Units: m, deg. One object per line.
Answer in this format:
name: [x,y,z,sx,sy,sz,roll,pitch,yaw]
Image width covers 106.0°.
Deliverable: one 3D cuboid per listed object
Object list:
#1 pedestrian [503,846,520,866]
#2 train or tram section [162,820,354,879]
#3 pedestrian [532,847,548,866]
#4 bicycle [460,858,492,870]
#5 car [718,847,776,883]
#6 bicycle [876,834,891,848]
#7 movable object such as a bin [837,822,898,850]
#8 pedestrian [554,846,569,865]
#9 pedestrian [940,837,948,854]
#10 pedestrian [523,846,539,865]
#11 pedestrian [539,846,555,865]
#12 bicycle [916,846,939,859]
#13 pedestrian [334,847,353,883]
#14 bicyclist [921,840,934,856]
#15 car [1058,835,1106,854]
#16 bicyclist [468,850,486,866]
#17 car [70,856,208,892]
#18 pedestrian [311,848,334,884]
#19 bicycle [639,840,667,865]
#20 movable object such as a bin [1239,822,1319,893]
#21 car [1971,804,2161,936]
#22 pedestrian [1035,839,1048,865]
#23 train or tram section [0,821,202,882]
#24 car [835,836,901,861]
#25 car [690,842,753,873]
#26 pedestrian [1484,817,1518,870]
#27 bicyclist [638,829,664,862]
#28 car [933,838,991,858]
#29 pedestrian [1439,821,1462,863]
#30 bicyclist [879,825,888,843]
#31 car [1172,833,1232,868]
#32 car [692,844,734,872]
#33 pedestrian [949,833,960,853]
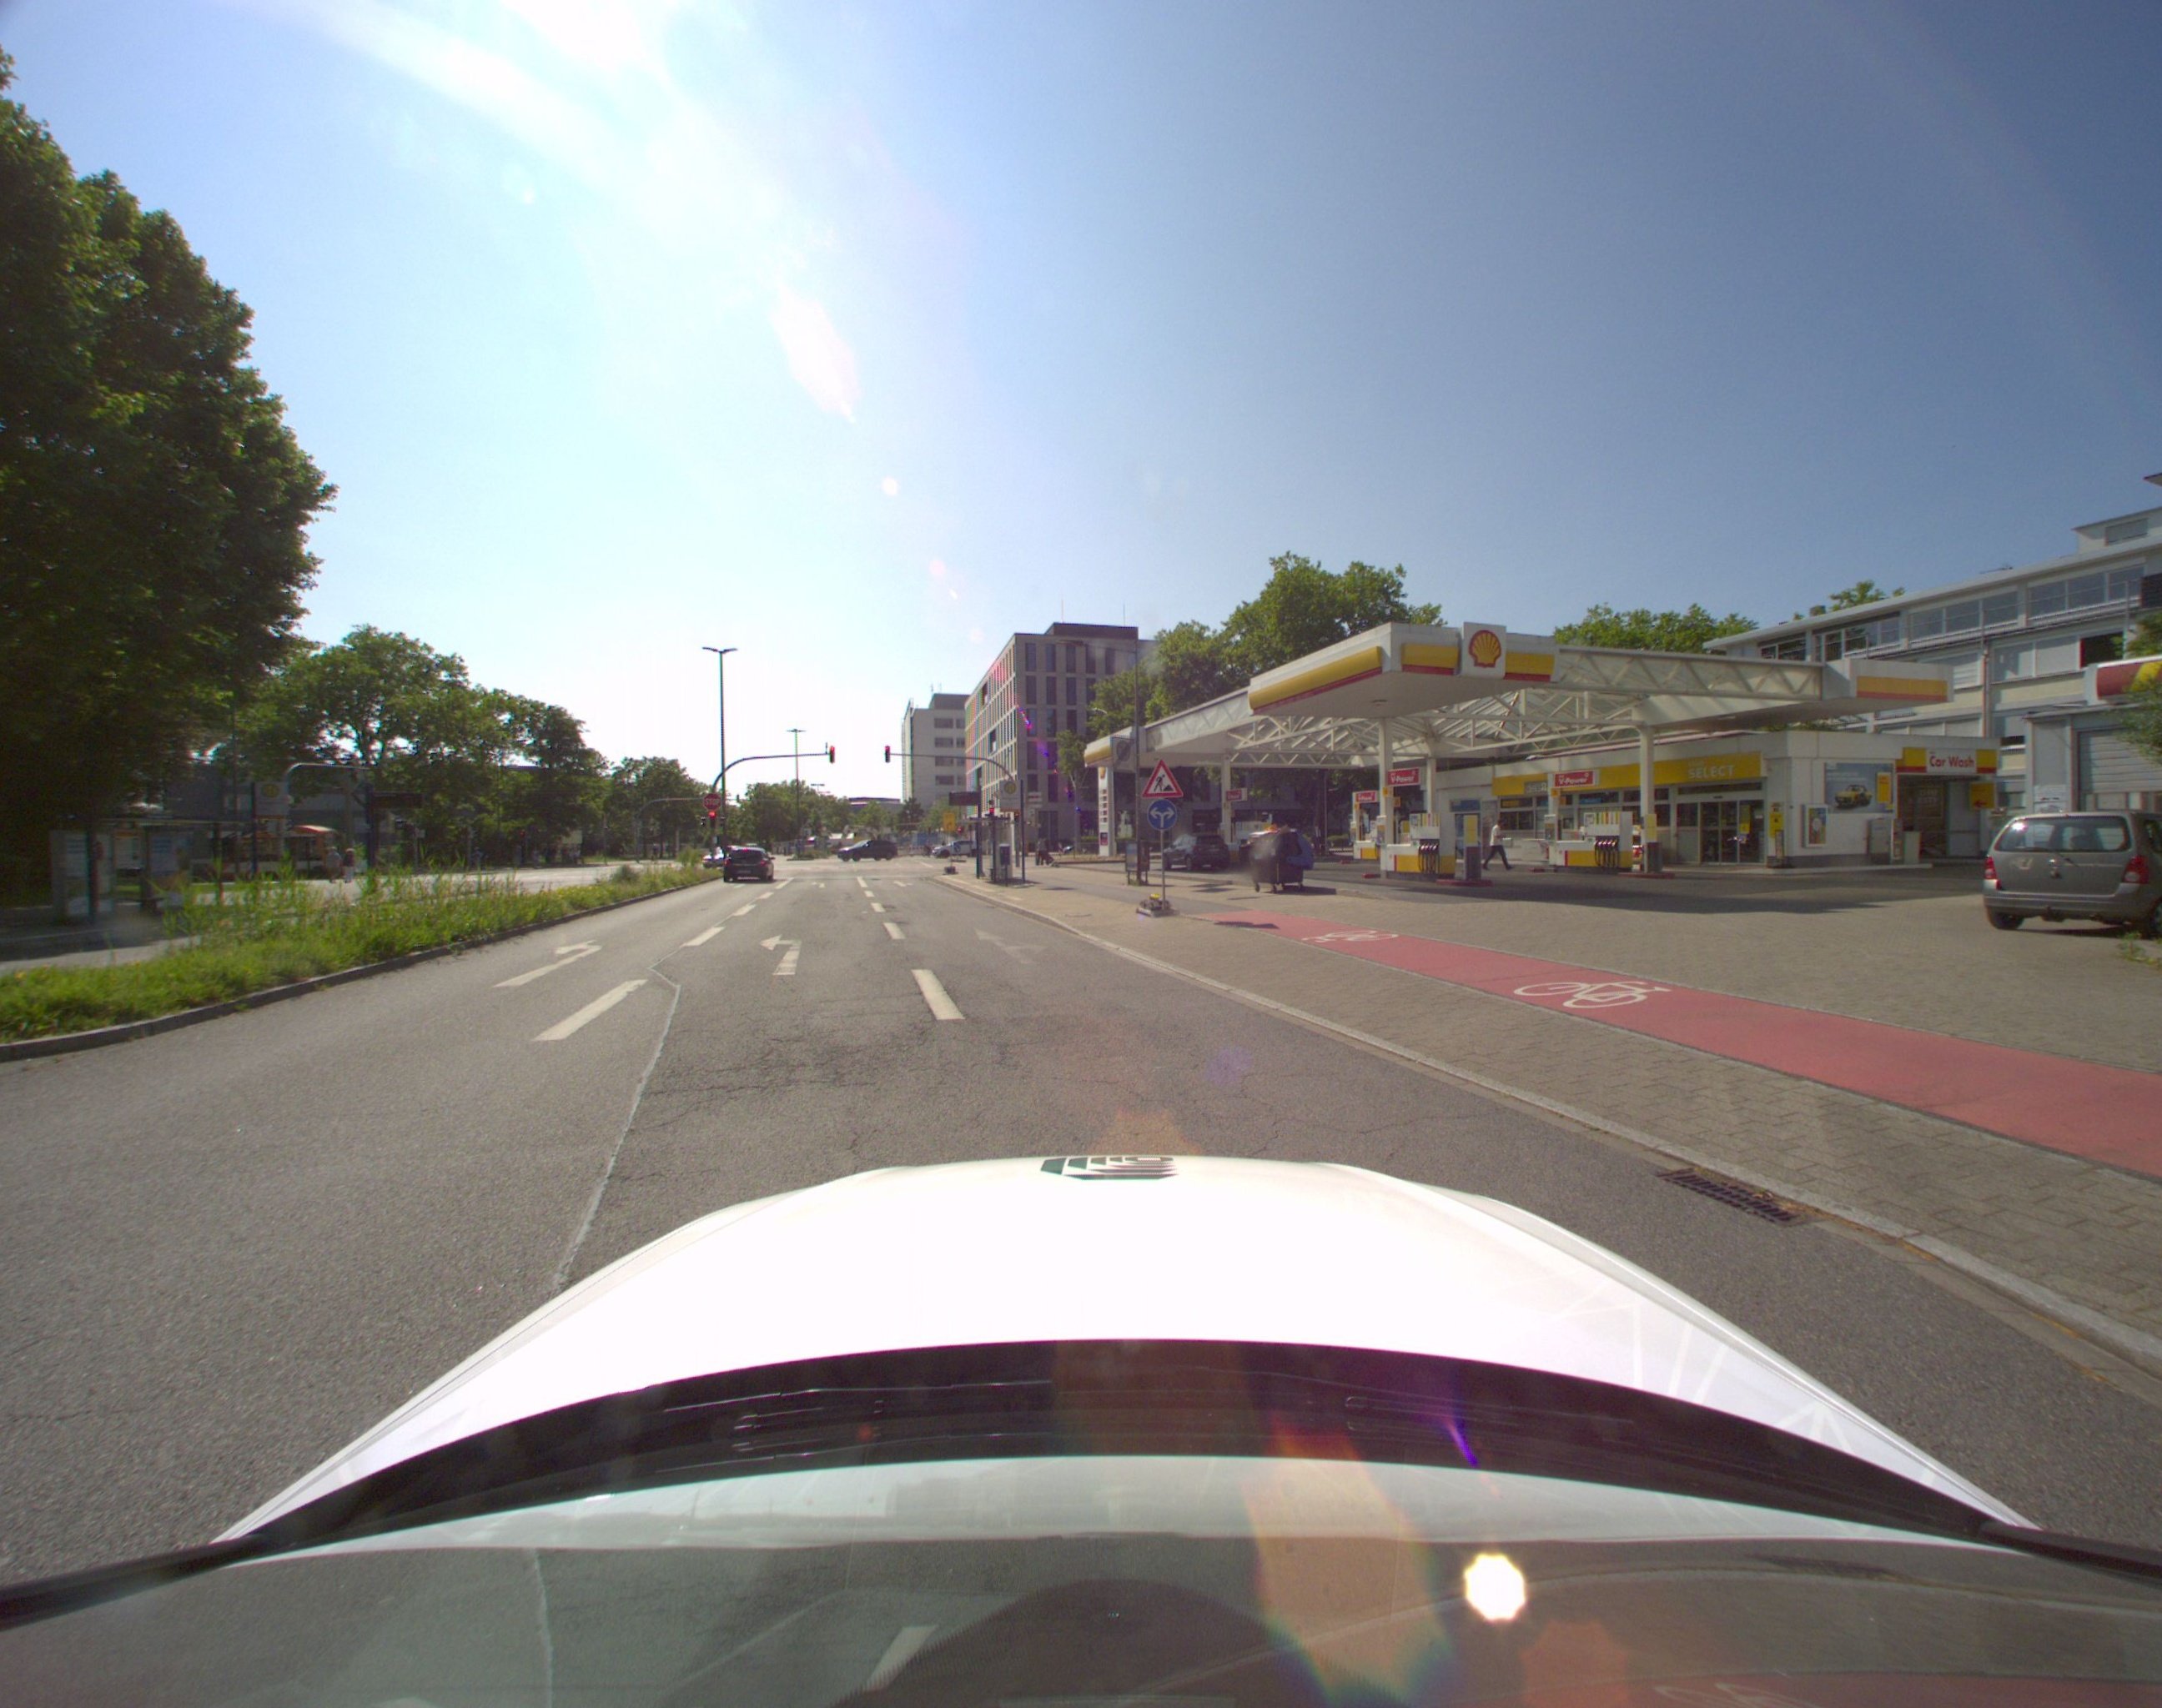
pedestrian: [-47.854,0.174,68.409,0.651,1.611,0.944,0,1,7]
train or tram section: [-50.059,-0.336,49.837,7.577,3.331,3.100,-1,1,-19]
pedestrian: [-46.097,0.182,69.450,0.651,1.611,0.944,0,1,7]
bicycle: [-49.149,0.832,66.206,2.008,0.883,0.523,-1,1,-22]
car: [-14.229,0.416,34.849,1.999,1.398,3.975,-1,1,-19]
bicycle: [-27.984,-1.904,115.424,2.088,1.961,0.824,0,0,-11]
movable object such as a bin: [-35.318,-2.997,134.938,9.693,4.549,3.148,-1,1,-15]
pedestrian: [-44.888,0.100,70.357,0.662,1.611,0.944,0,1,7]
pedestrian: [-14.242,-0.894,84.617,0.531,1.771,0.713,-1,1,-30]
pedestrian: [-46.736,0.143,69.235,0.651,1.611,0.944,0,1,7]
pedestrian: [-45.125,0.121,68.857,0.651,1.611,0.944,0,1,7]
bicycle: [-15.698,-0.149,83.373,2.228,1.285,0.523,-1,1,-9]
pedestrian: [-36.493,0.534,40.307,0.571,1.726,0.726,-2,1,-34]
bicyclist: [-15.688,-0.604,83.368,1.239,1.673,0.523,-1,1,-9]
car: [0.083,-0.869,76.023,4.120,1.638,1.989,-2,1,-17]
bicyclist: [-49.111,0.346,66.237,1.056,1.274,0.489,-1,1,-22]
car: [-40.539,0.840,35.142,3.509,1.377,1.627,-1,1,-19]
pedestrian: [-37.133,0.567,39.877,0.663,1.726,0.745,-2,1,-34]
bicycle: [-40.205,-0.129,76.576,1.603,2.269,3.978,-1,1,-17]
movable object such as a bin: [4.842,0.068,19.972,1.312,1.592,1.387,-4,2,-19]
car: [14.540,0.156,11.253,3.830,1.596,1.581,-1,1,-18]
pedestrian: [-2.331,-0.121,48.110,0.620,1.543,0.459,-1,1,-18]
train or tram section: [-57.216,-0.197,47.393,7.577,3.331,3.100,-1,1,-19]
car: [-17.499,-0.492,66.984,4.896,2.013,1.976,-1,1,-41]
car: [-20.024,0.155,45.587,1.992,1.638,4.385,-1,1,-7]
pedestrian: [14.988,-0.384,29.056,0.749,1.837,0.848,-1,1,-38]
bicyclist: [-39.980,-0.795,75.781,1.603,2.930,2.340,-1,1,-17]
car: [-10.601,-0.553,72.410,4.868,1.636,1.988,-1,1,-18]
pedestrian: [16.094,-0.536,35.497,0.673,1.821,0.629,-1,1,-10]
bicyclist: [-27.976,-2.783,115.421,1.070,2.574,0.824,0,0,-11]
car: [5.050,-0.157,34.431,1.648,1.398,3.634,-1,1,-6]
car: [-23.350,0.210,51.828,1.895,1.610,4.491,-1,1,-18]
pedestrian: [-12.877,-1.110,82.947,0.772,2.013,0.780,0,1,12]
